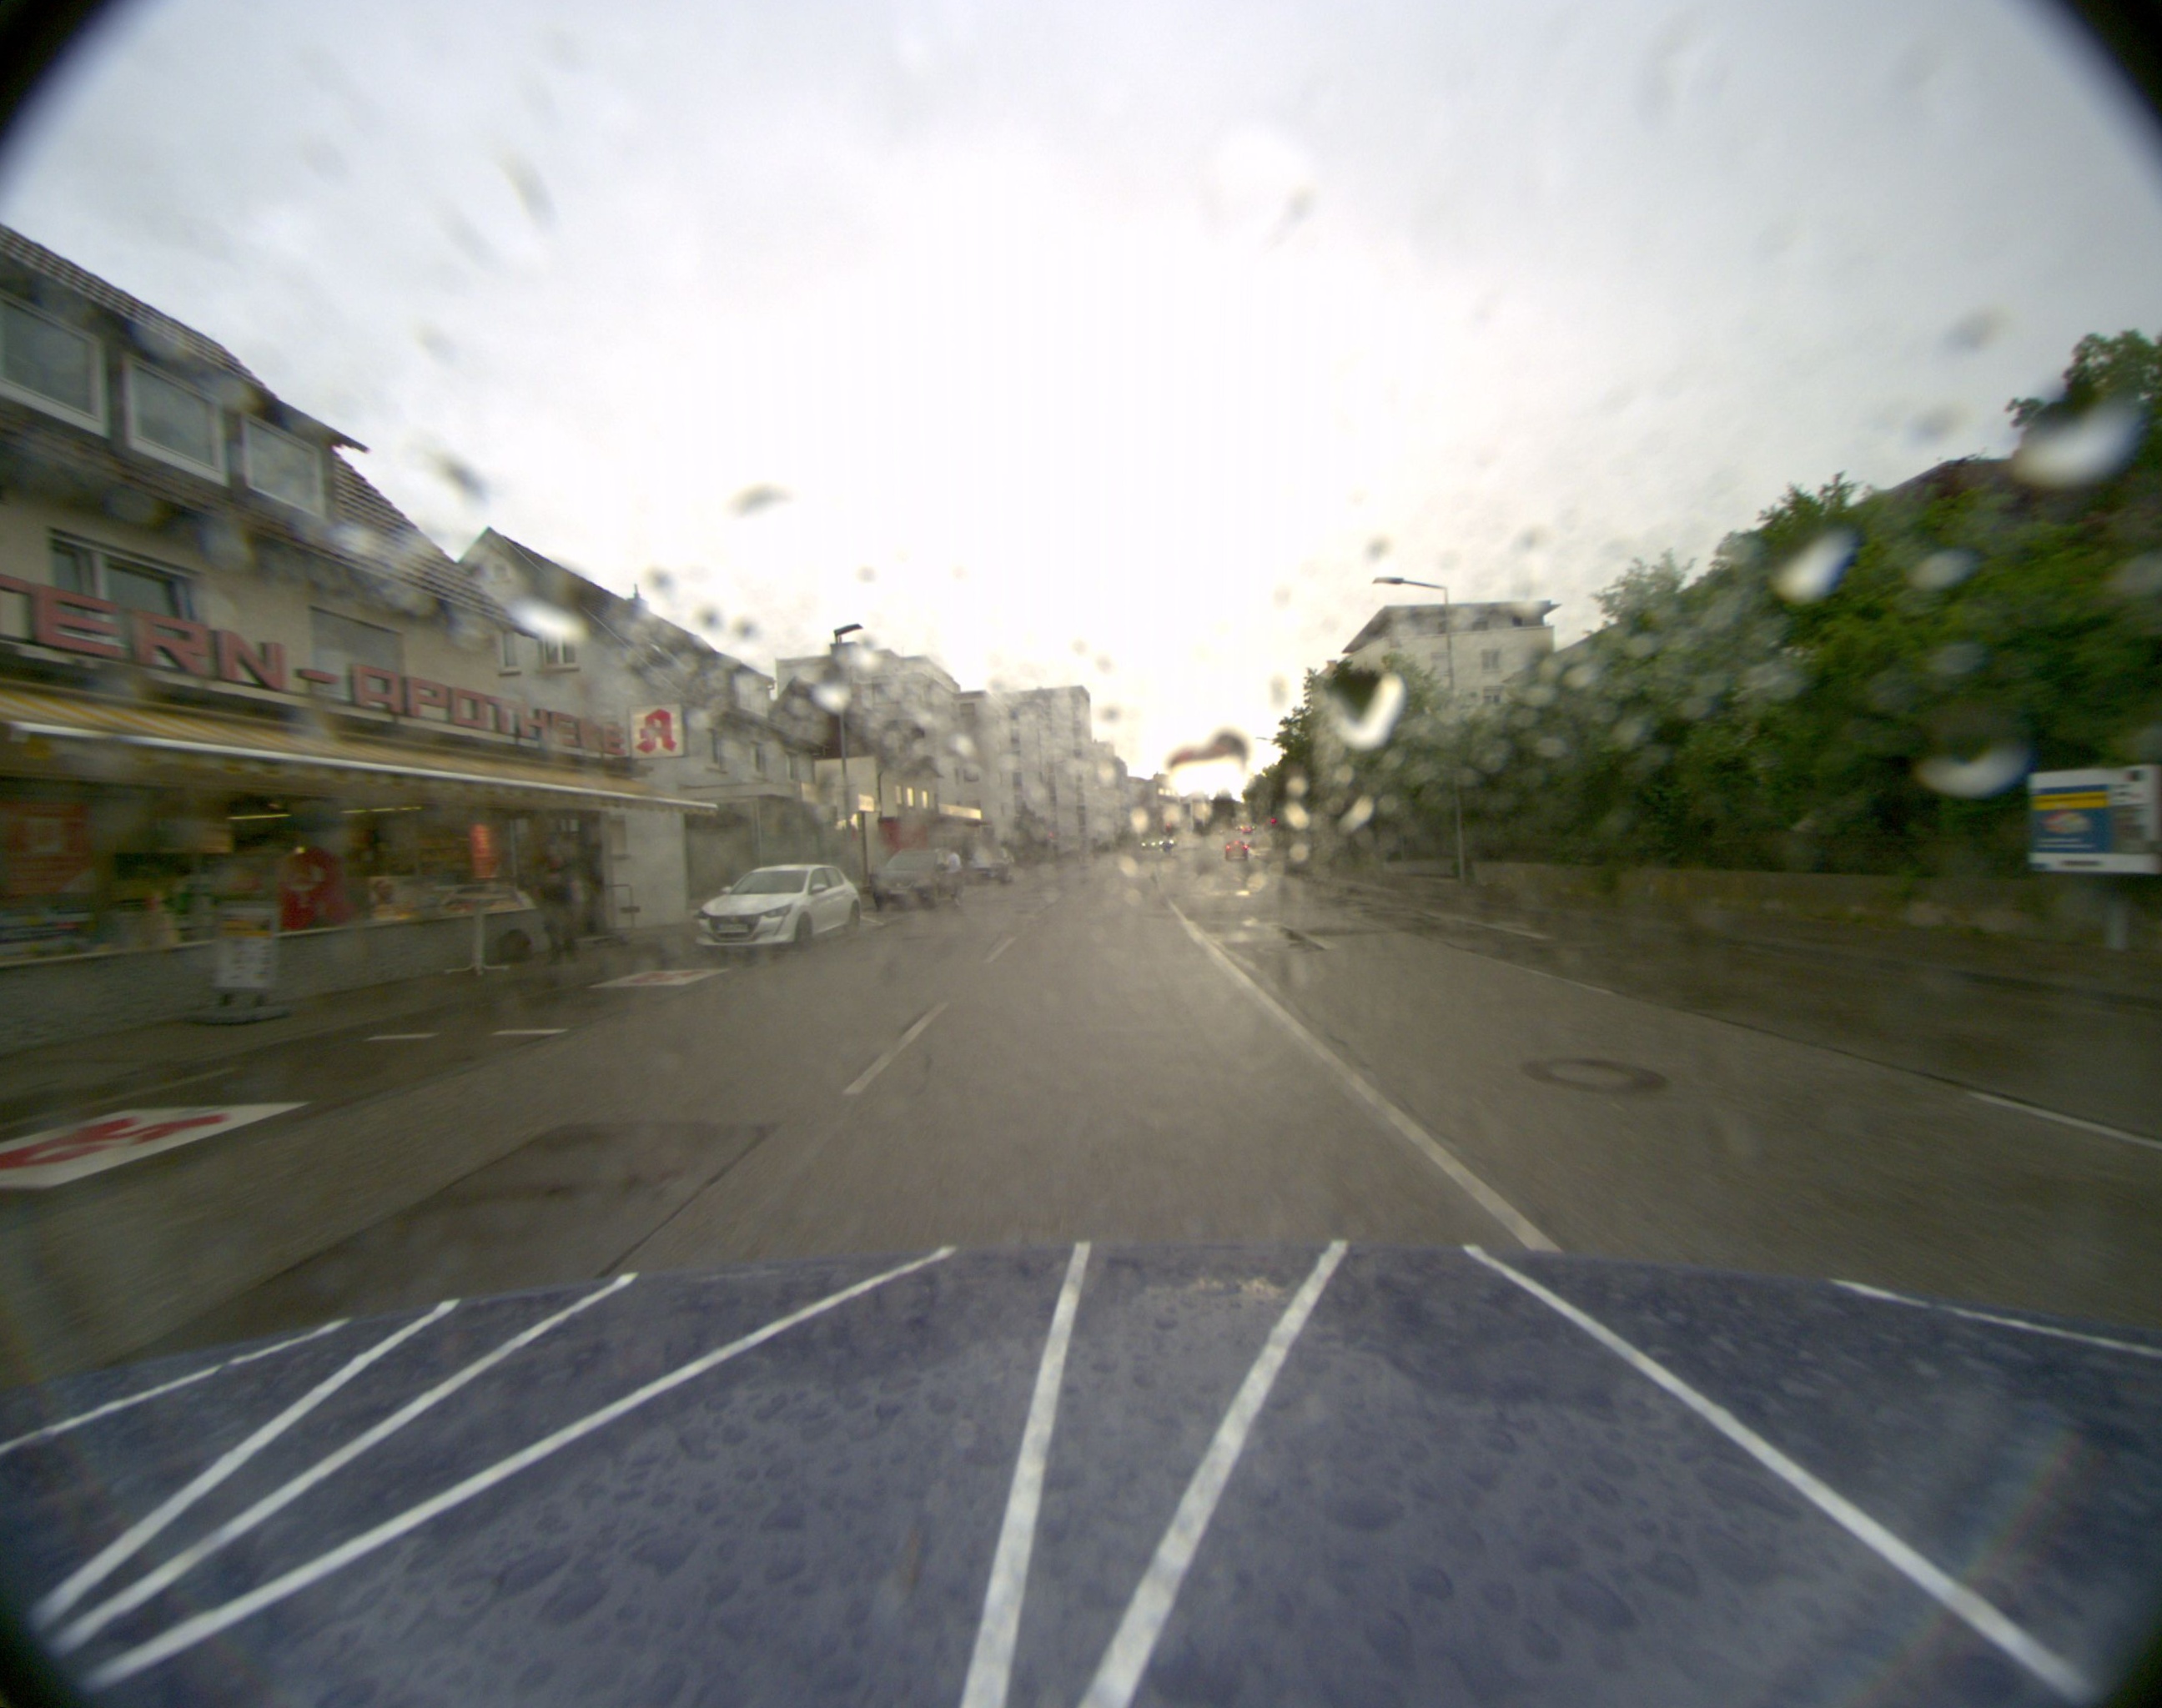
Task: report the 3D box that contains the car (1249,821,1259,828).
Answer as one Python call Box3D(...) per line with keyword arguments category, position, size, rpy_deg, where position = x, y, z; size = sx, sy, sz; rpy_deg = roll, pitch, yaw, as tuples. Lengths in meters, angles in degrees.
Box3D(category="car", position=(44.099, -7.578, 193.777), size=(1.827, 1.677, 4.004), rpy_deg=(-2, 2, 19))

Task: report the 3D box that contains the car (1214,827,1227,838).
Box3D(category="car", position=(31.877, -4.916, 173.327), size=(1.996, 2.002, 4.003), rpy_deg=(-7, 1, 19))

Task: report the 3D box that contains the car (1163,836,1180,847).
Box3D(category="car", position=(14.566, -1.966, 121.967), size=(1.896, 1.536, 4.024), rpy_deg=(-4, 1, 16))

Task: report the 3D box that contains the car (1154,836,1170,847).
Box3D(category="car", position=(12.215, -1.882, 113.929), size=(1.752, 1.470, 4.003), rpy_deg=(-4, 1, 14))

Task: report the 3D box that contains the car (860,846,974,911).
Box3D(category="car", position=(-4.947, 0.669, 23.699), size=(2.040, 1.686, 4.963), rpy_deg=(-1, 2, 5))

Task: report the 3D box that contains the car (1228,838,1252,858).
Box3D(category="car", position=(12.846, -0.546, 61.609), size=(1.778, 1.498, 4.106), rpy_deg=(0, 2, 10))

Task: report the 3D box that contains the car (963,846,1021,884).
Box3D(category="car", position=(-4.211, 0.470, 36.813), size=(1.879, 1.633, 4.792), rpy_deg=(-1, 2, 4))

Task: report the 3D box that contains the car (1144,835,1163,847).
Box3D(category="car", position=(10.192, -1.838, 106.790), size=(1.739, 1.477, 4.153), rpy_deg=(-3, 1, 17))

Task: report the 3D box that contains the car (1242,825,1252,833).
Box3D(category="car", position=(36.561, -5.573, 167.032), size=(1.691, 1.546, 3.910), rpy_deg=(-5, 2, 17))

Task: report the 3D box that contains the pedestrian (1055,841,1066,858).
Box3D(category="pedestrian", position=(-1.884, -0.422, 70.819), size=(0.754, 1.559, 0.993), rpy_deg=(-5, 2, 8))

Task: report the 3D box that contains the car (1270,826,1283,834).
Box3D(category="car", position=(37.127, -4.578, 144.378), size=(1.734, 1.470, 4.026), rpy_deg=(-4, 1, 24))

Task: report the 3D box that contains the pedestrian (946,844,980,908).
Box3D(category="pedestrian", position=(-3.558, 0.653, 22.866), size=(0.622, 1.880, 0.648), rpy_deg=(-2, 2, 39))

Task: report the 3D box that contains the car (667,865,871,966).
Box3D(category="car", position=(-5.527, 1.010, 14.151), size=(1.819, 1.440, 4.203), rpy_deg=(-1, 1, 3))

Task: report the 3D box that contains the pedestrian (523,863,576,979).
Box3D(category="pedestrian", position=(-7.971, 0.980, 11.415), size=(0.552, 1.669, 0.515), rpy_deg=(-4, 2, -34))

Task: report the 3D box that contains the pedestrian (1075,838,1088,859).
Box3D(category="pedestrian", position=(0.021, -0.489, 65.848), size=(0.667, 1.693, 0.948), rpy_deg=(-3, 2, 27))
